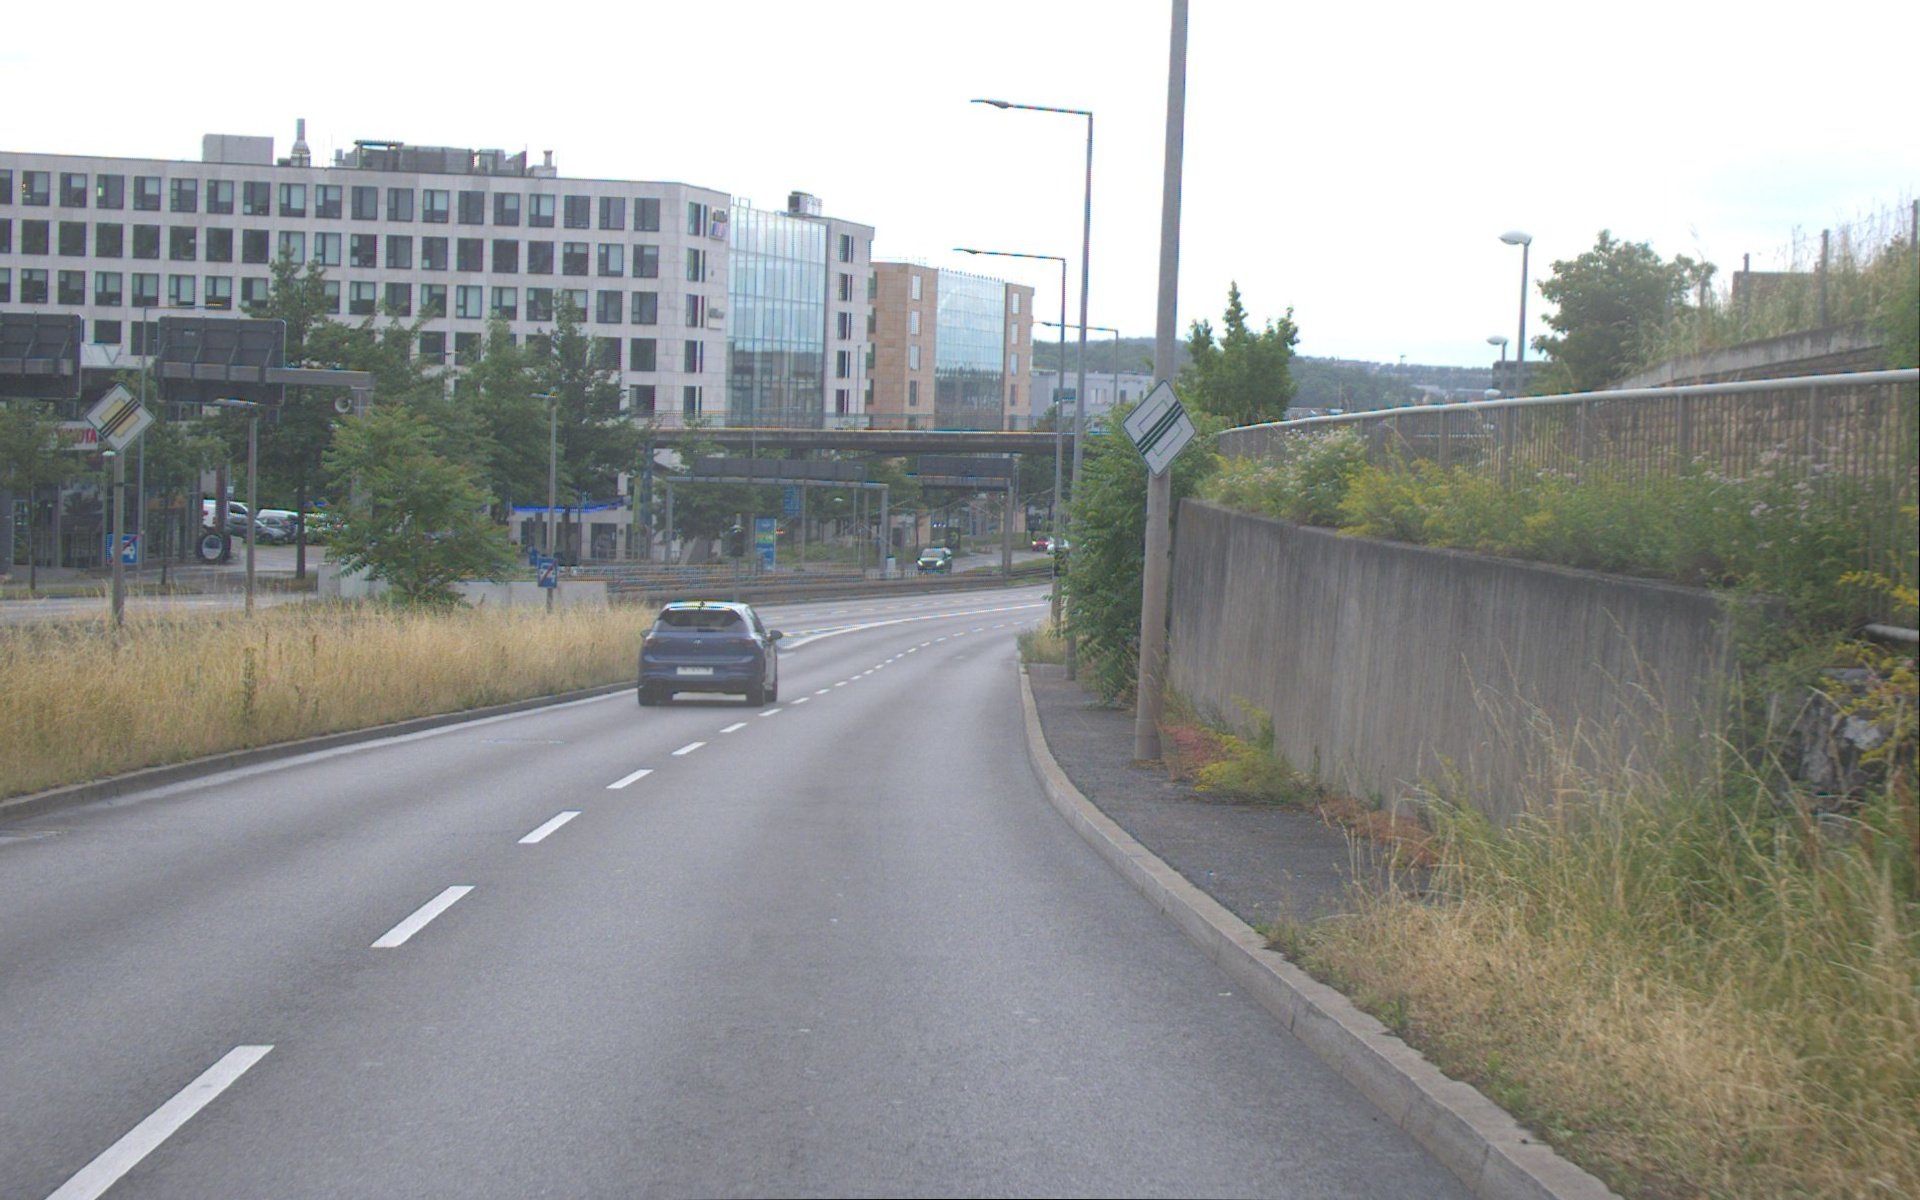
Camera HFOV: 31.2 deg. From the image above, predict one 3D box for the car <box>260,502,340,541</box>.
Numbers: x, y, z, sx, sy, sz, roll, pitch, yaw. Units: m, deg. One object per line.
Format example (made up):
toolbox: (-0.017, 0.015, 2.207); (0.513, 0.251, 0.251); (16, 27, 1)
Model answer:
car: (-38.239, -4.576, 199.104); (3.990, 1.869, 1.999); (5, 4, 14)

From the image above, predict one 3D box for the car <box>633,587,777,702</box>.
car: (-3.578, 0.601, 48.693); (1.749, 1.415, 3.479); (0, 3, 0)
